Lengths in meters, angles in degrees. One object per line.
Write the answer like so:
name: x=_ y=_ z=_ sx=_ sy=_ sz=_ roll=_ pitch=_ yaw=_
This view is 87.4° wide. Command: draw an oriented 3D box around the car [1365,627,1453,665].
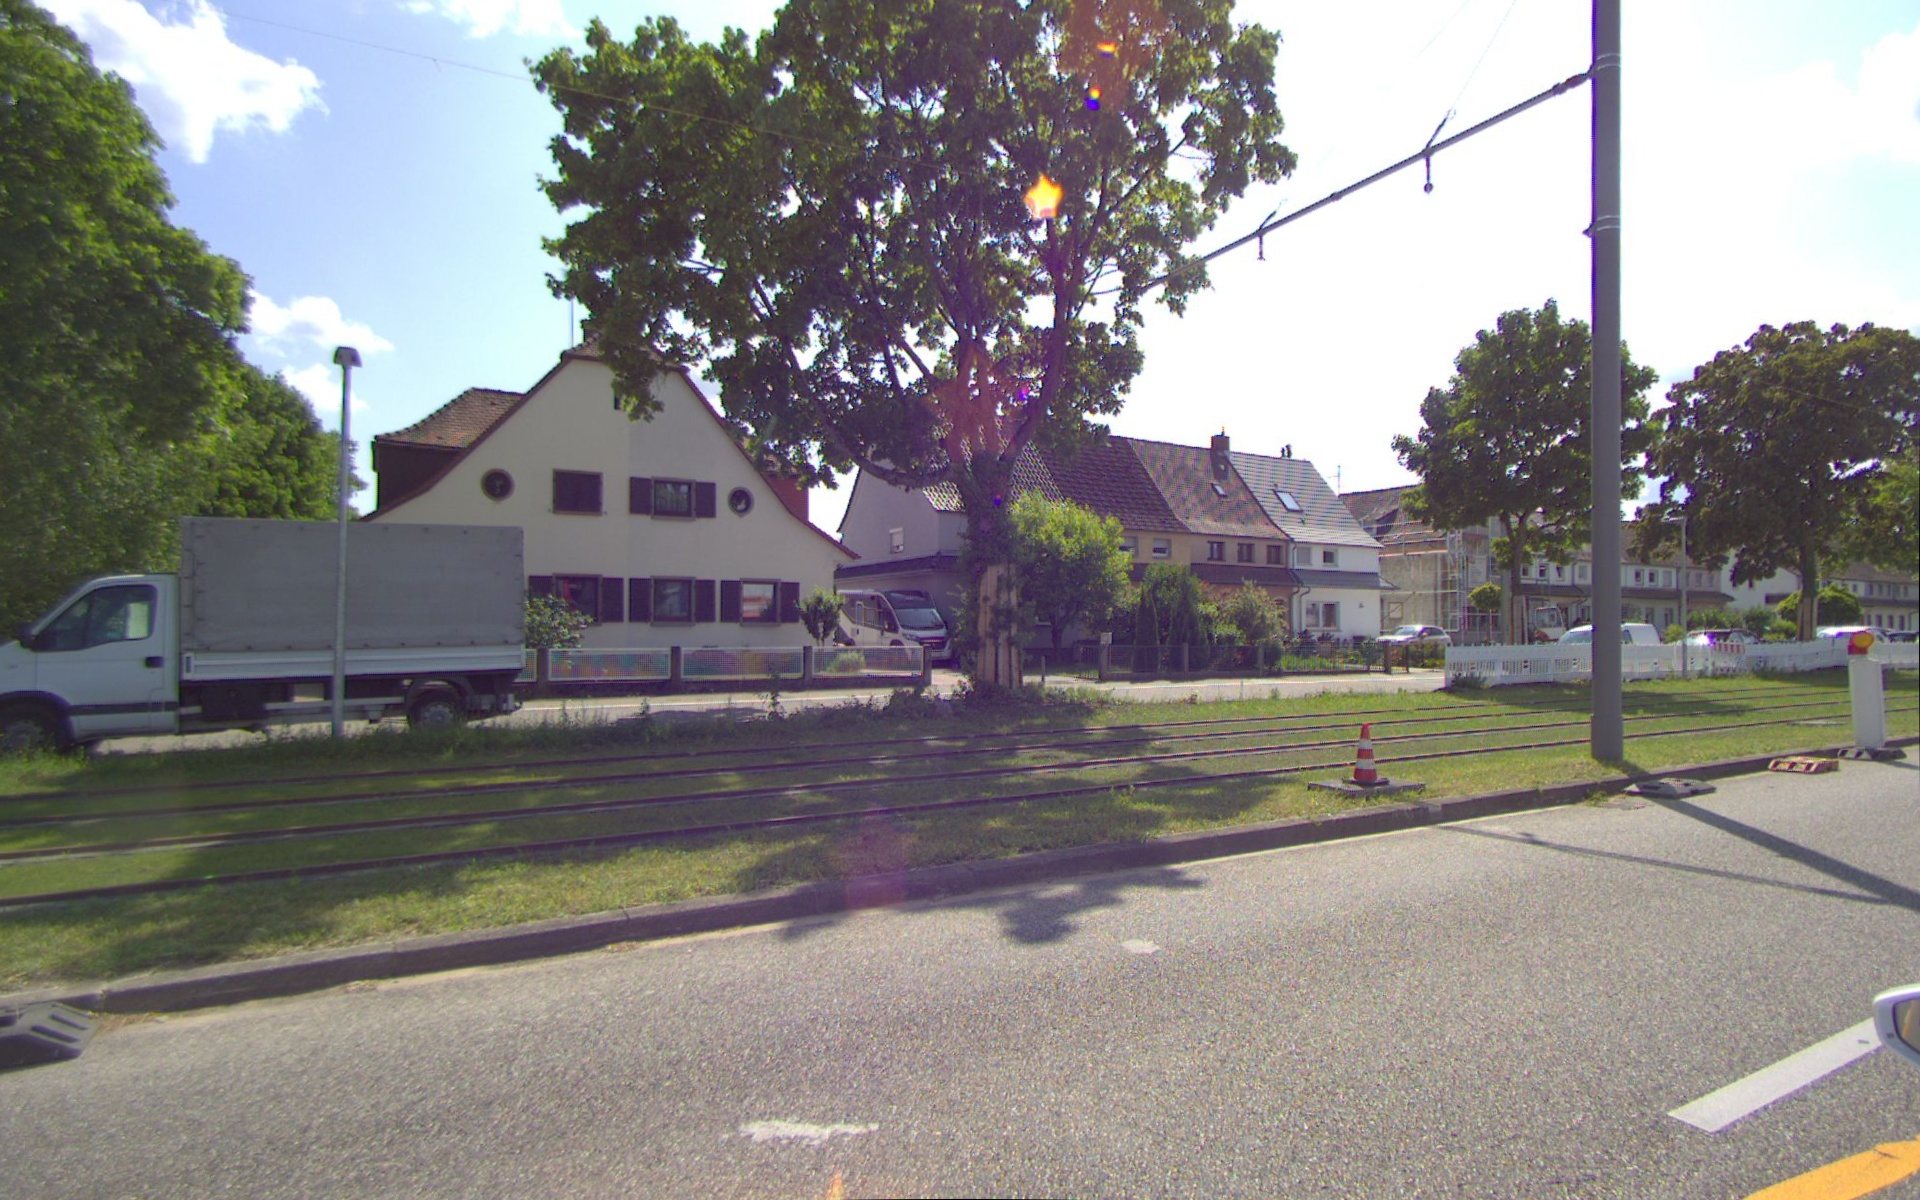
car: x=19.888 y=1.994 z=44.477 sx=3.814 sy=1.614 sz=1.691 roll=1 pitch=-2 yaw=-30

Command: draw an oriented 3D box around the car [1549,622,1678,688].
car: x=19.499 y=1.605 z=29.957 sx=3.814 sy=1.841 sz=1.691 roll=1 pitch=-2 yaw=-30

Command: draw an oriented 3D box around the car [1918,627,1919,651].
car: x=72.135 y=2.849 z=73.662 sx=4.013 sy=1.762 sz=1.691 roll=1 pitch=-2 yaw=-30

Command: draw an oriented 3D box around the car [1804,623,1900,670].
car: x=34.984 y=1.803 z=39.372 sx=3.814 sy=1.762 sz=1.691 roll=1 pitch=-2 yaw=-30

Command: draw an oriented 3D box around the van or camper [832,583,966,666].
van or camper: x=-2.352 y=0.907 z=36.648 sx=2.224 sy=2.745 sz=5.963 roll=1 pitch=-2 yaw=-33

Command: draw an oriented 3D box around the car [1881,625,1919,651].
car: x=66.752 y=2.685 z=70.727 sx=4.013 sy=1.762 sz=1.691 roll=1 pitch=-2 yaw=-30

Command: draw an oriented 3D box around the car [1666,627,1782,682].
car: x=25.744 y=1.801 z=33.824 sx=4.006 sy=1.762 sz=1.691 roll=1 pitch=-2 yaw=-30

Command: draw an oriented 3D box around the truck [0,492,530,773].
truck: x=-8.800 y=0.413 z=12.932 sx=5.805 sy=3.027 sz=1.994 roll=1 pitch=-2 yaw=-30

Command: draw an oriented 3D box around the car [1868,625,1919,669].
car: x=40.387 y=1.962 z=42.597 sx=3.814 sy=1.762 sz=1.691 roll=1 pitch=-2 yaw=-30
